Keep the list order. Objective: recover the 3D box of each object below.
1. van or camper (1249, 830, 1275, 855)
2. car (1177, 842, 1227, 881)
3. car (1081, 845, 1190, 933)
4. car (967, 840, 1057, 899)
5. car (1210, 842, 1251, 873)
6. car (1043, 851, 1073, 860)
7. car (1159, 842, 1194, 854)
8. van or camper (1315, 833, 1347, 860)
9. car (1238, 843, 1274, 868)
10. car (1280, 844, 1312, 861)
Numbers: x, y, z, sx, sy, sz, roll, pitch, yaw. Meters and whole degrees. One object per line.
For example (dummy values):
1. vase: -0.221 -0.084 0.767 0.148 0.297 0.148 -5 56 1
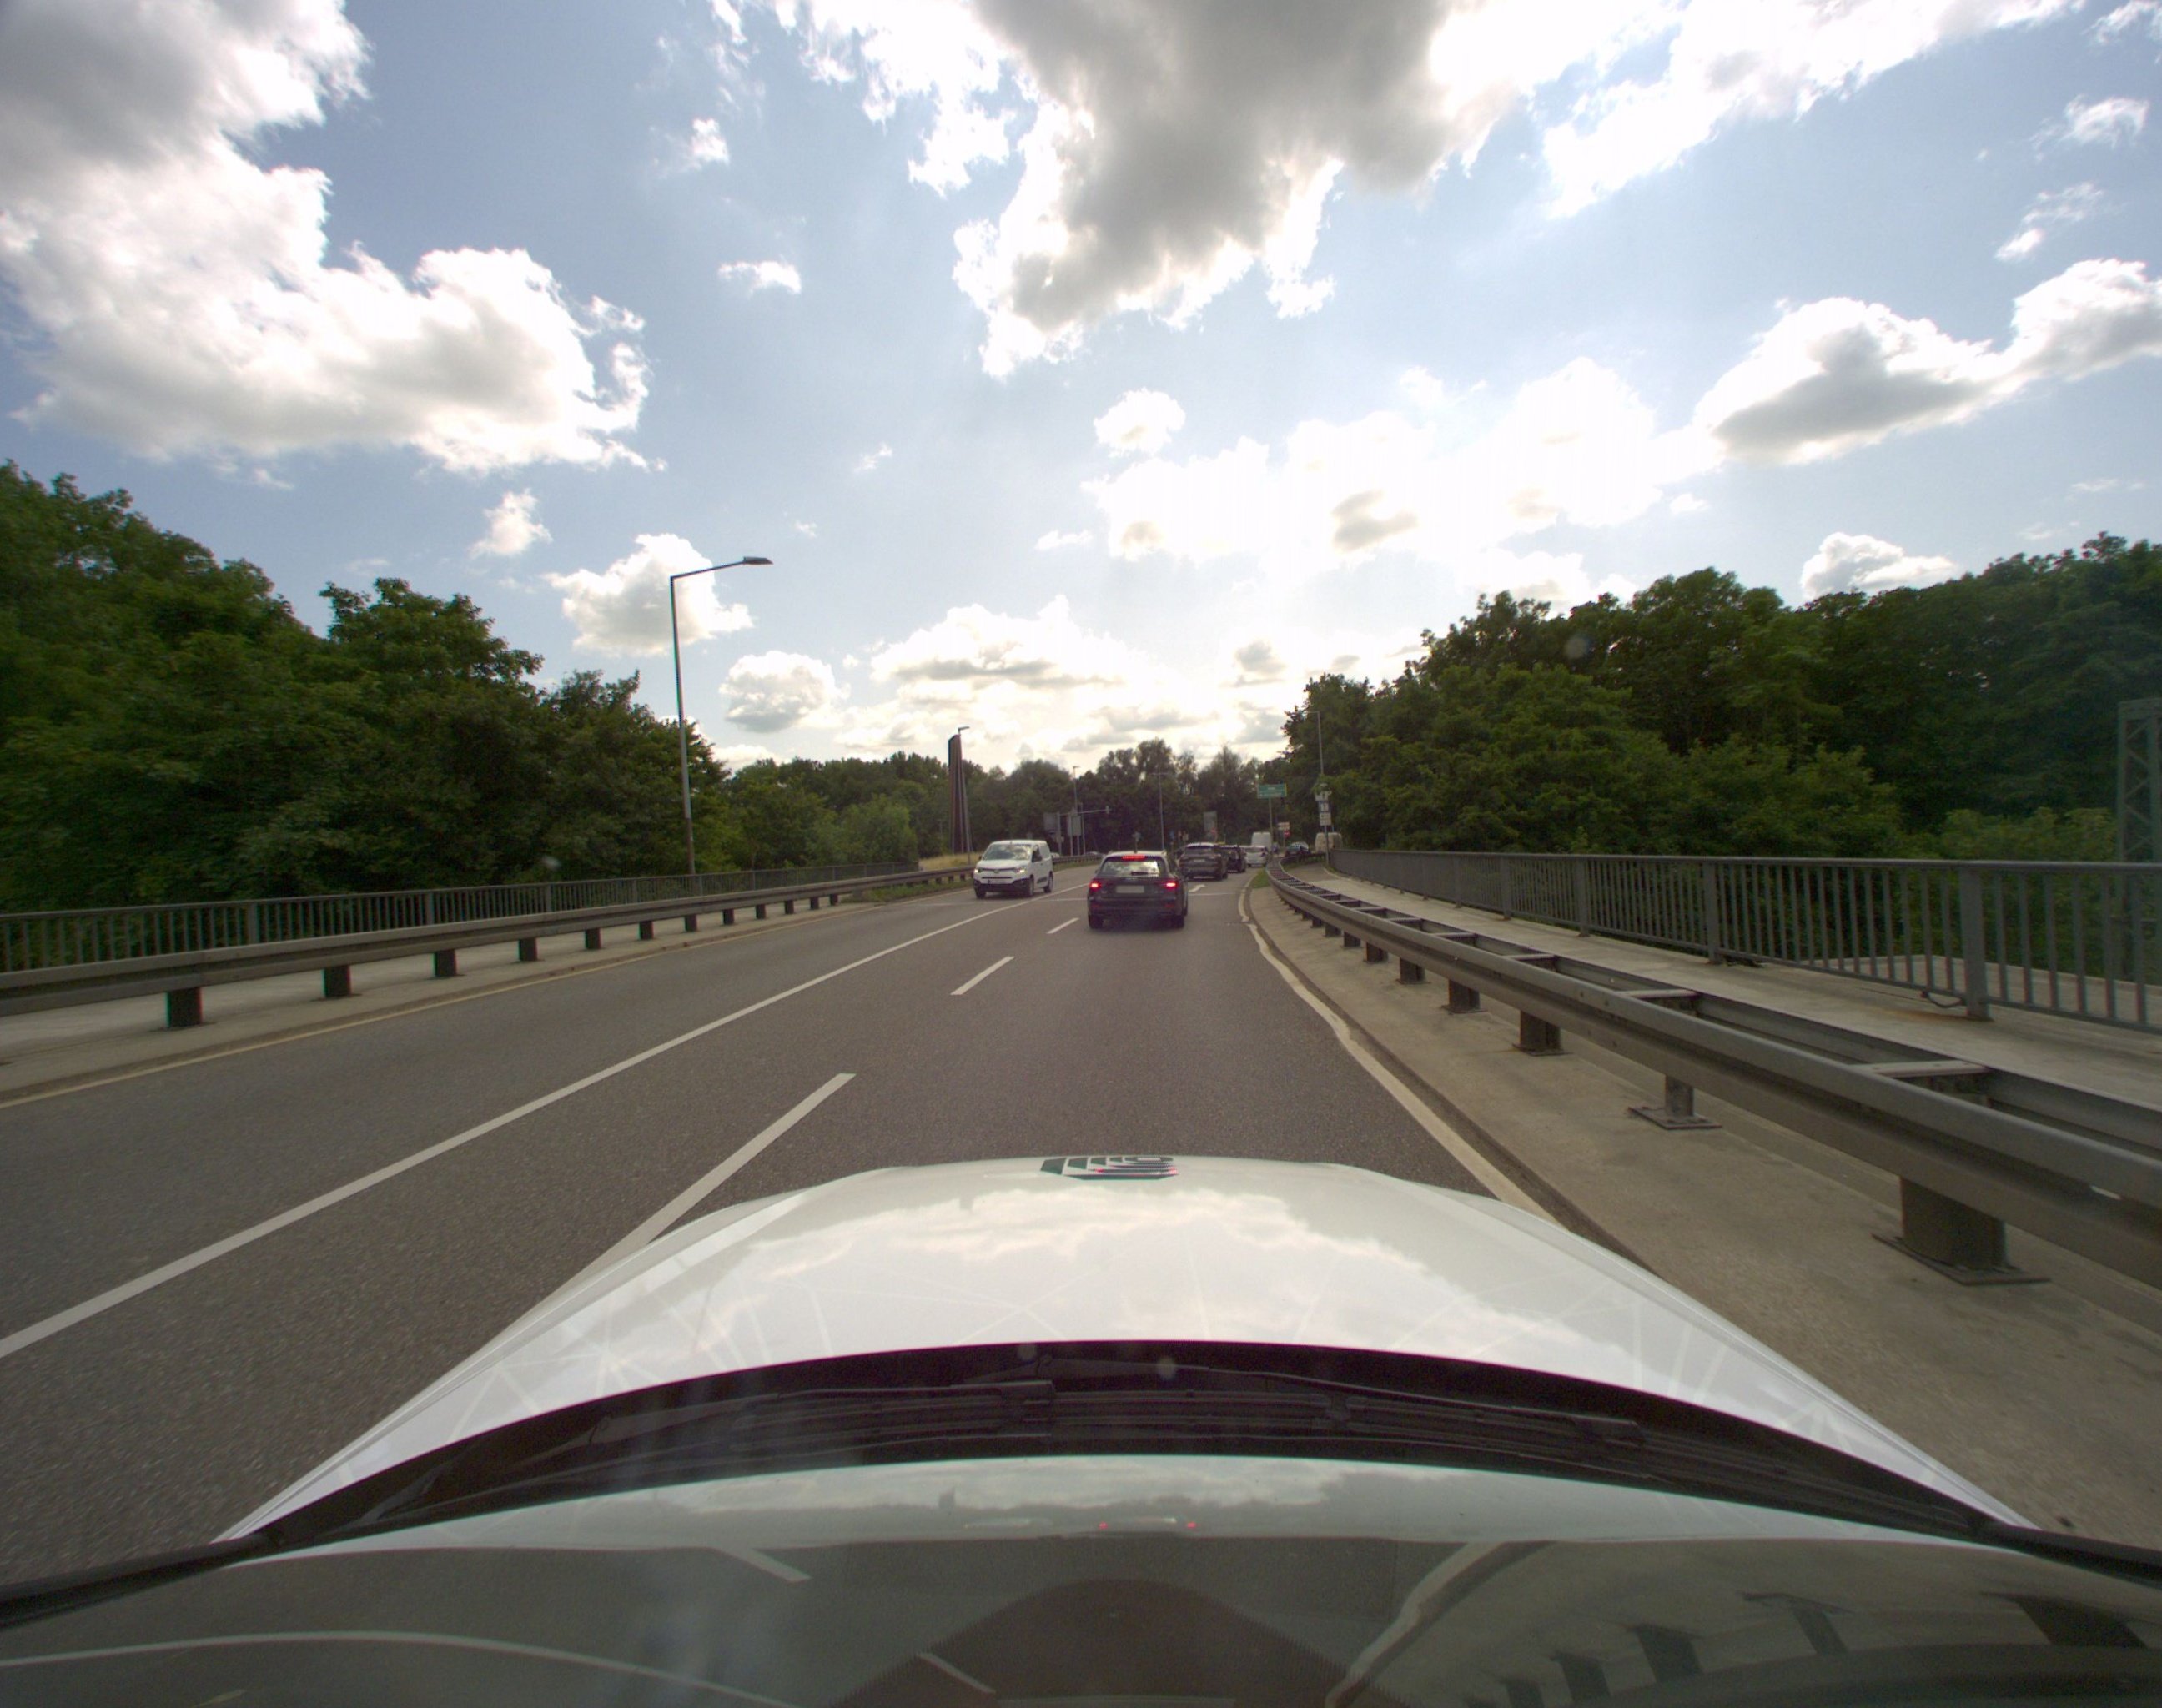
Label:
1. van or camper: 17.240 -1.041 77.630 2.257 2.341 5.258 0 0 12
2. car: 5.430 0.302 36.188 1.808 1.651 3.870 -1 1 13
3. car: 1.233 0.602 16.343 1.817 1.491 4.217 -1 1 8
4. car: -2.149 0.444 26.669 1.802 1.754 4.318 -1 0 10
5. car: 8.404 0.185 45.595 1.719 1.651 3.874 -1 0 18
6. car: -2.696 0.168 95.939 1.603 1.117 3.545 -1 0 -45
7. car: 11.287 -0.683 96.160 3.764 1.371 1.682 0 2 27
8. van or camper: 25.217 -0.807 82.004 1.974 2.590 4.116 0 1 33
9. car: 12.178 0.099 56.510 1.718 1.651 3.876 -1 0 22
10. car: 18.618 -0.117 70.468 1.667 1.398 3.702 -2 0 32
